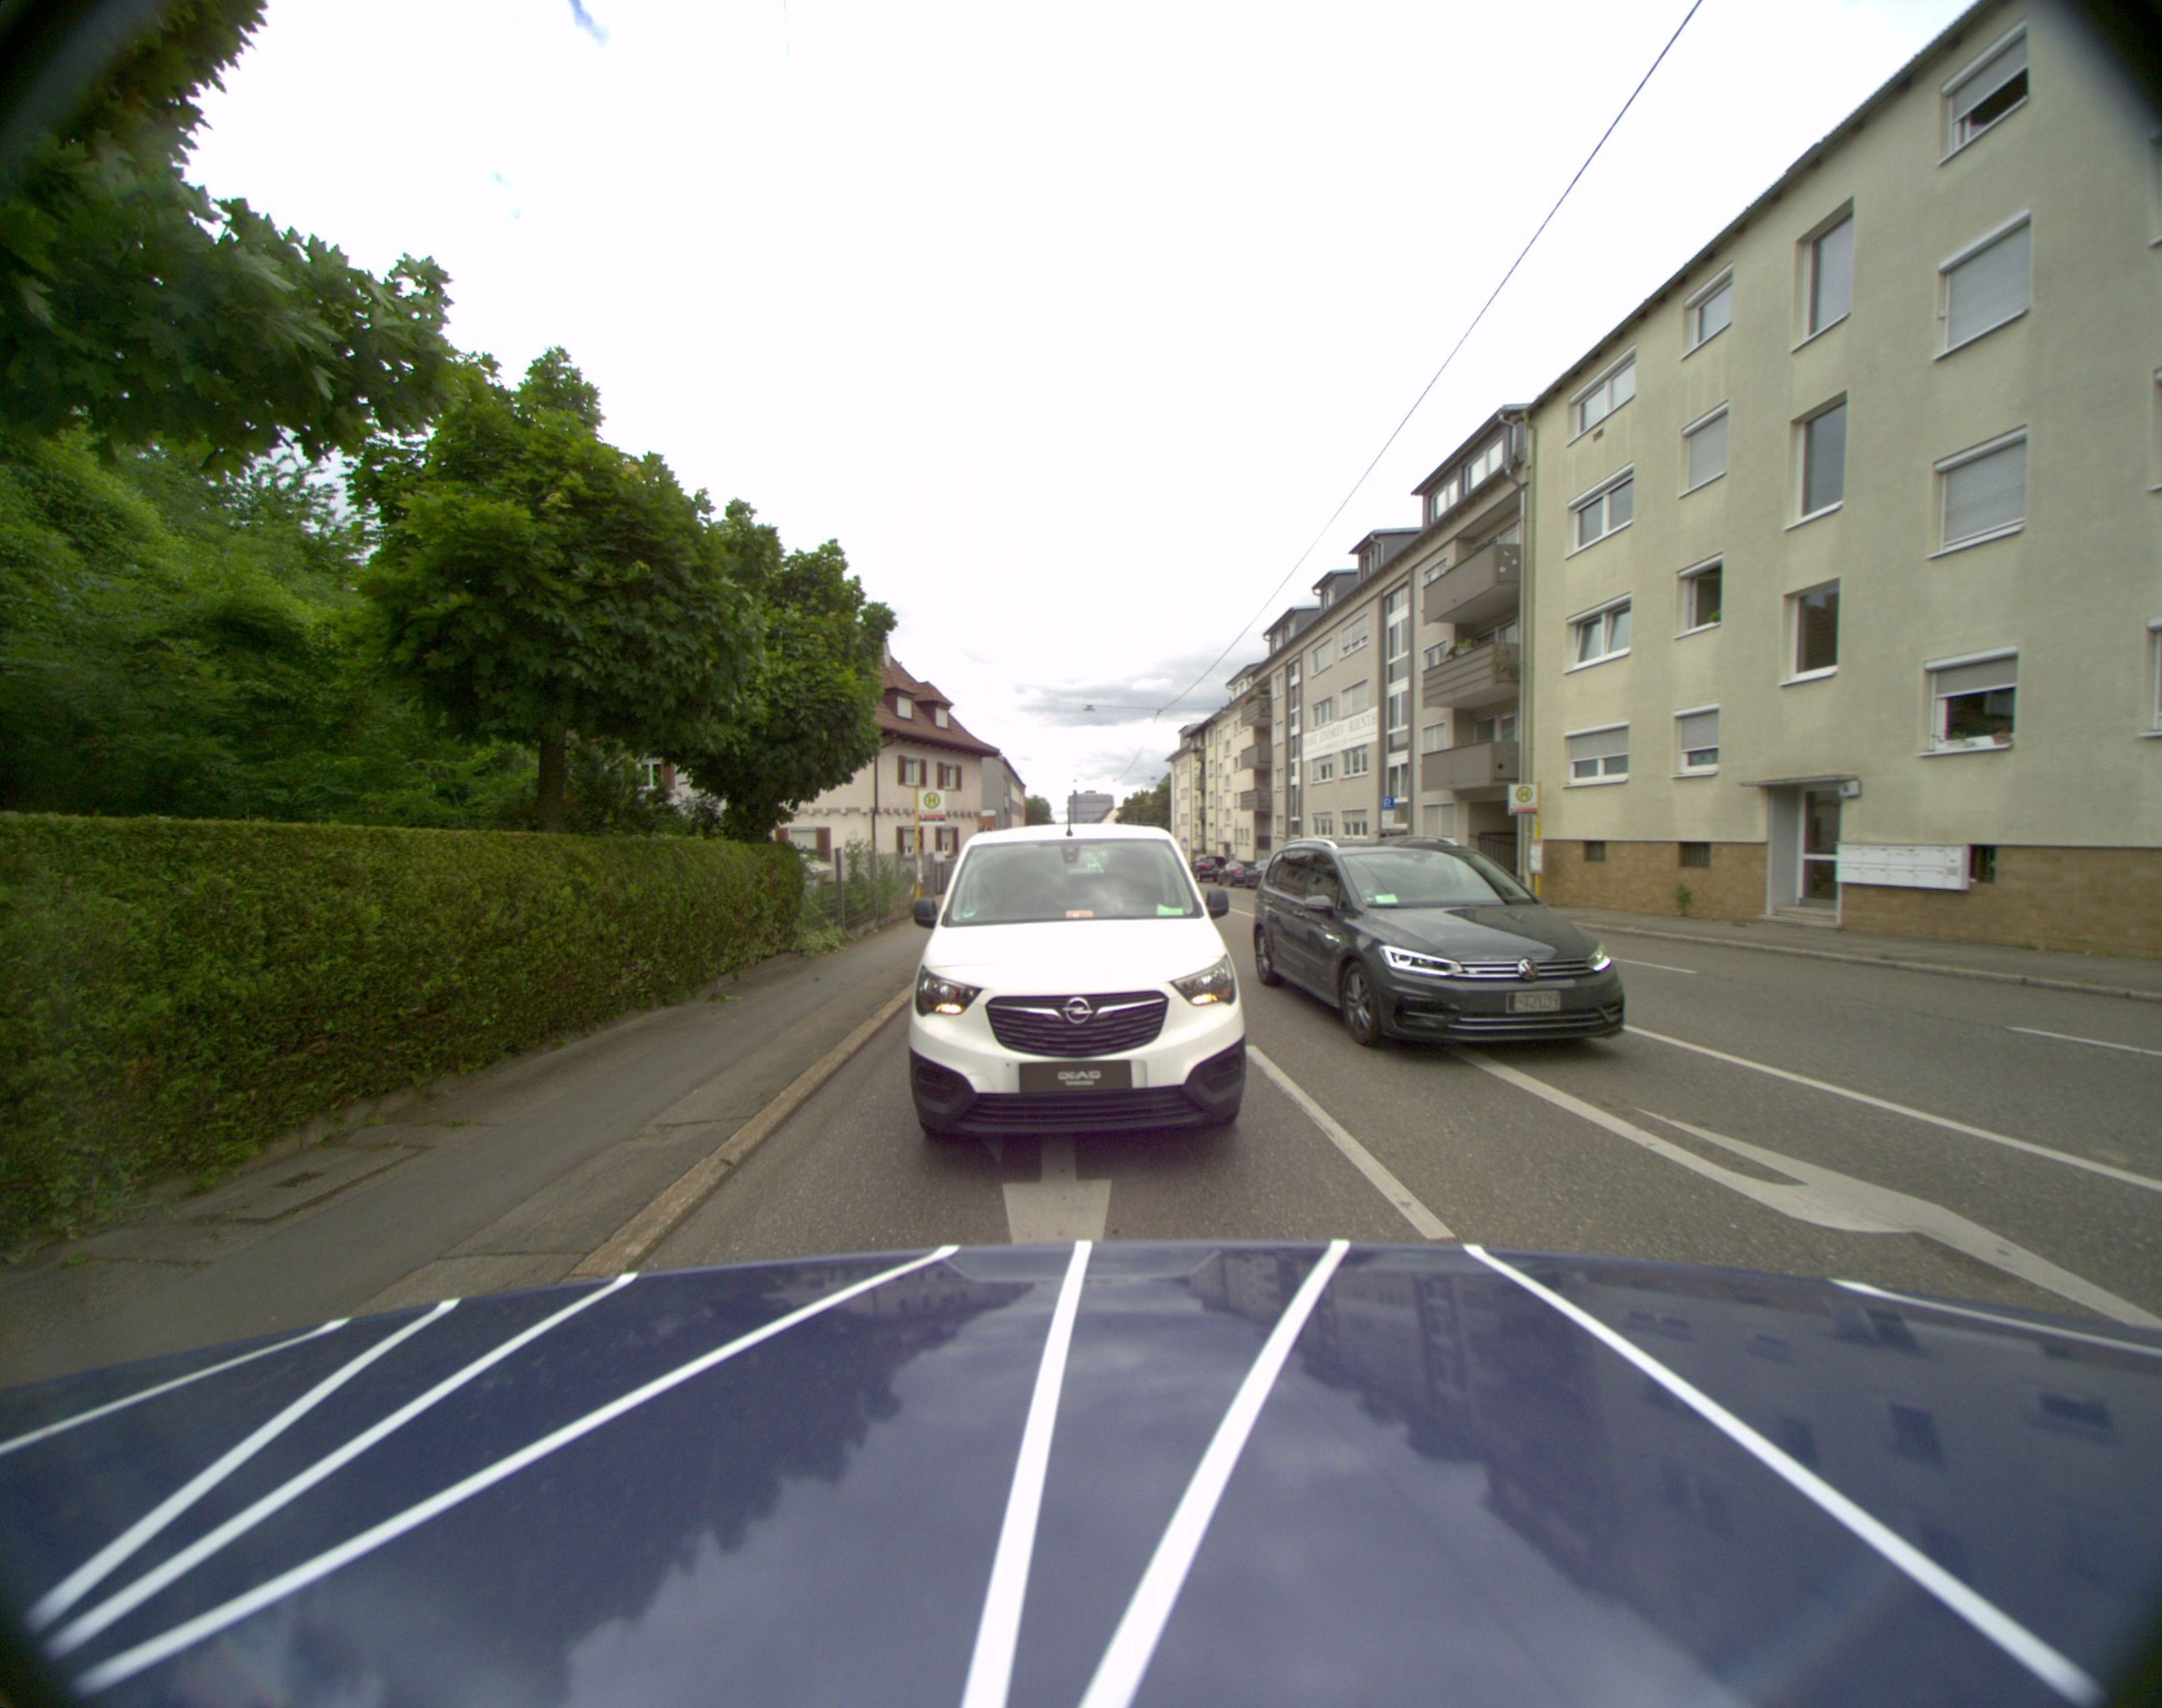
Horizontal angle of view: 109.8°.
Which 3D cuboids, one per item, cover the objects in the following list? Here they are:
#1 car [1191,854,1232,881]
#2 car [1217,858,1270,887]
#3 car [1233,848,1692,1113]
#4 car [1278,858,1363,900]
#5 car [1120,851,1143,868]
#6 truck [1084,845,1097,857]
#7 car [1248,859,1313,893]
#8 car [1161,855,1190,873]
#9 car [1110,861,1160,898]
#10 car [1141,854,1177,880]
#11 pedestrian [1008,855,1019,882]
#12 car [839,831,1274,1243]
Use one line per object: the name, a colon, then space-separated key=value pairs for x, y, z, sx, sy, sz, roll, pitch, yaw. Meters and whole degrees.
car: x=8.329 y=0.848 z=48.667 sx=1.776 sy=1.591 sz=3.538 roll=0 pitch=1 yaw=-5
car: x=8.397 y=0.922 z=39.542 sx=1.776 sy=1.395 sz=3.538 roll=0 pitch=1 yaw=-5
car: x=2.889 y=0.787 z=7.074 sx=1.863 sy=1.601 sz=4.478 roll=-2 pitch=1 yaw=-2
car: x=8.908 y=0.890 z=28.565 sx=1.776 sy=1.403 sz=3.685 roll=0 pitch=1 yaw=-5
car: x=4.642 y=0.523 z=69.913 sx=1.593 sy=1.474 sz=3.597 roll=-1 pitch=1 yaw=-5
truck: x=1.905 y=-0.614 z=156.466 sx=2.547 sy=2.522 sz=5.493 roll=-1 pitch=0 yaw=-1
car: x=8.736 y=0.925 z=33.514 sx=1.669 sy=1.368 sz=3.538 roll=0 pitch=1 yaw=-5
car: x=8.129 y=0.848 z=65.599 sx=1.776 sy=1.395 sz=3.757 roll=0 pitch=1 yaw=-5
car: x=2.119 y=0.996 z=30.863 sx=1.881 sy=1.347 sz=4.147 roll=0 pitch=0 yaw=2
car: x=4.894 y=0.810 z=48.096 sx=1.775 sy=1.513 sz=4.082 roll=0 pitch=1 yaw=-2
pedestrian: x=-4.548 y=0.978 z=51.040 sx=0.648 sy=1.830 sz=0.592 roll=-1 pitch=1 yaw=-12
car: x=-0.075 y=0.791 z=5.728 sx=1.862 sy=1.772 sz=4.711 roll=-2 pitch=1 yaw=1
